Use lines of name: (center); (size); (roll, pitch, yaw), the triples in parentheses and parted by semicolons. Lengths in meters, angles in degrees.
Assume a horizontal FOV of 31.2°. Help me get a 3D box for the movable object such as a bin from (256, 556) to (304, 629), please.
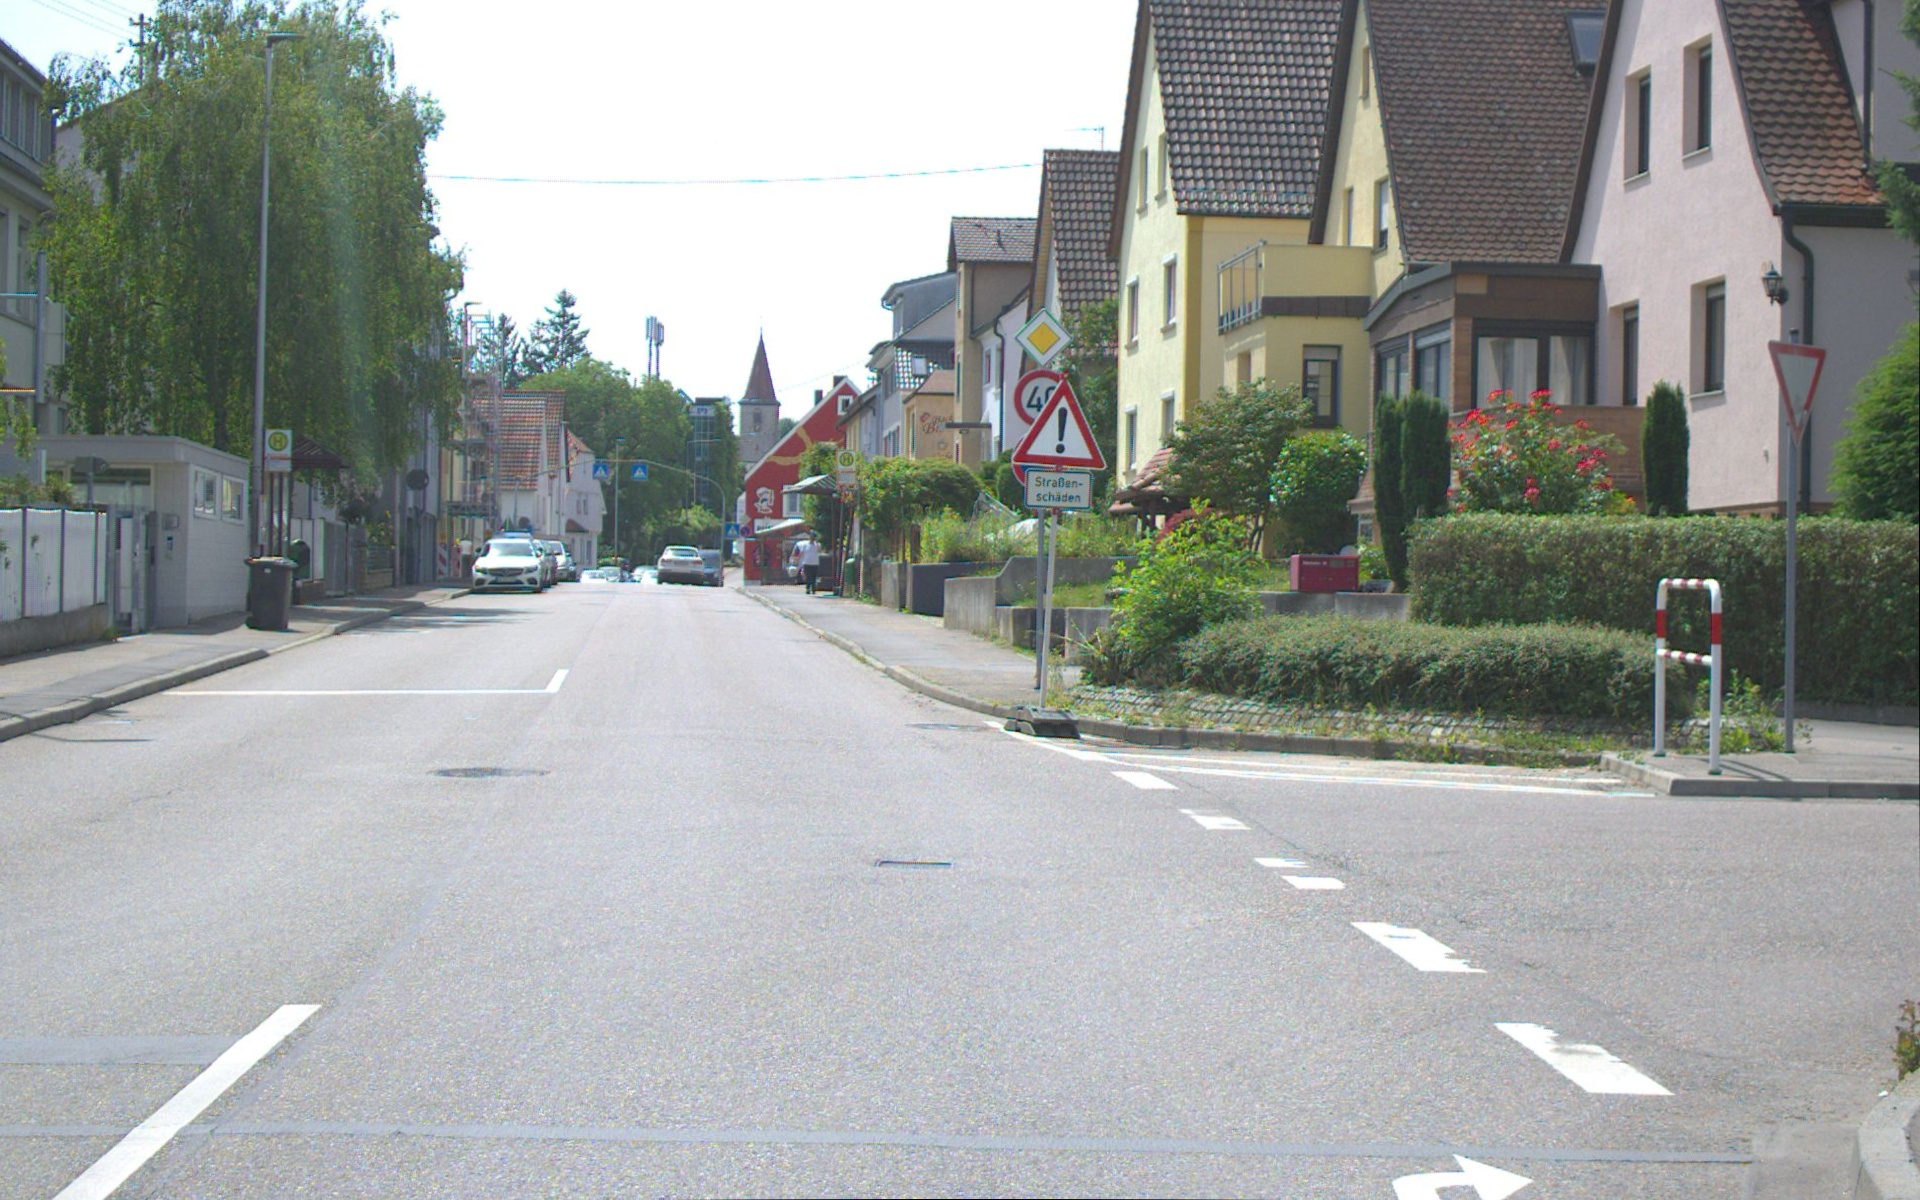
movable object such as a bin: (-10.225, -0.112, 51.734); (0.607, 1.042, 0.725); (2, 2, -5)

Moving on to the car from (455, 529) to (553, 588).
car: (-12.328, -1.141, 93.252); (2.110, 1.555, 4.314); (1, 1, -1)

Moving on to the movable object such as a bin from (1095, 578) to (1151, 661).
movable object such as a bin: (2.261, 0.267, 47.859); (0.583, 1.075, 0.734); (6, 1, -5)

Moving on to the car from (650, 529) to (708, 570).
car: (-10.986, -1.975, 134.381); (1.993, 1.555, 4.315); (0, 1, -8)

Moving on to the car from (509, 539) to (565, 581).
car: (-15.876, -1.500, 129.146); (1.993, 1.555, 4.315); (0, 1, -6)

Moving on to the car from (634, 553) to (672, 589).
car: (-17.608, -1.694, 197.497); (1.993, 2.007, 4.001); (0, 1, -3)

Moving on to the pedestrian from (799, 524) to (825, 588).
pedestrian: (-4.041, -1.200, 93.632); (0.646, 1.724, 0.608); (-1, 1, -5)
